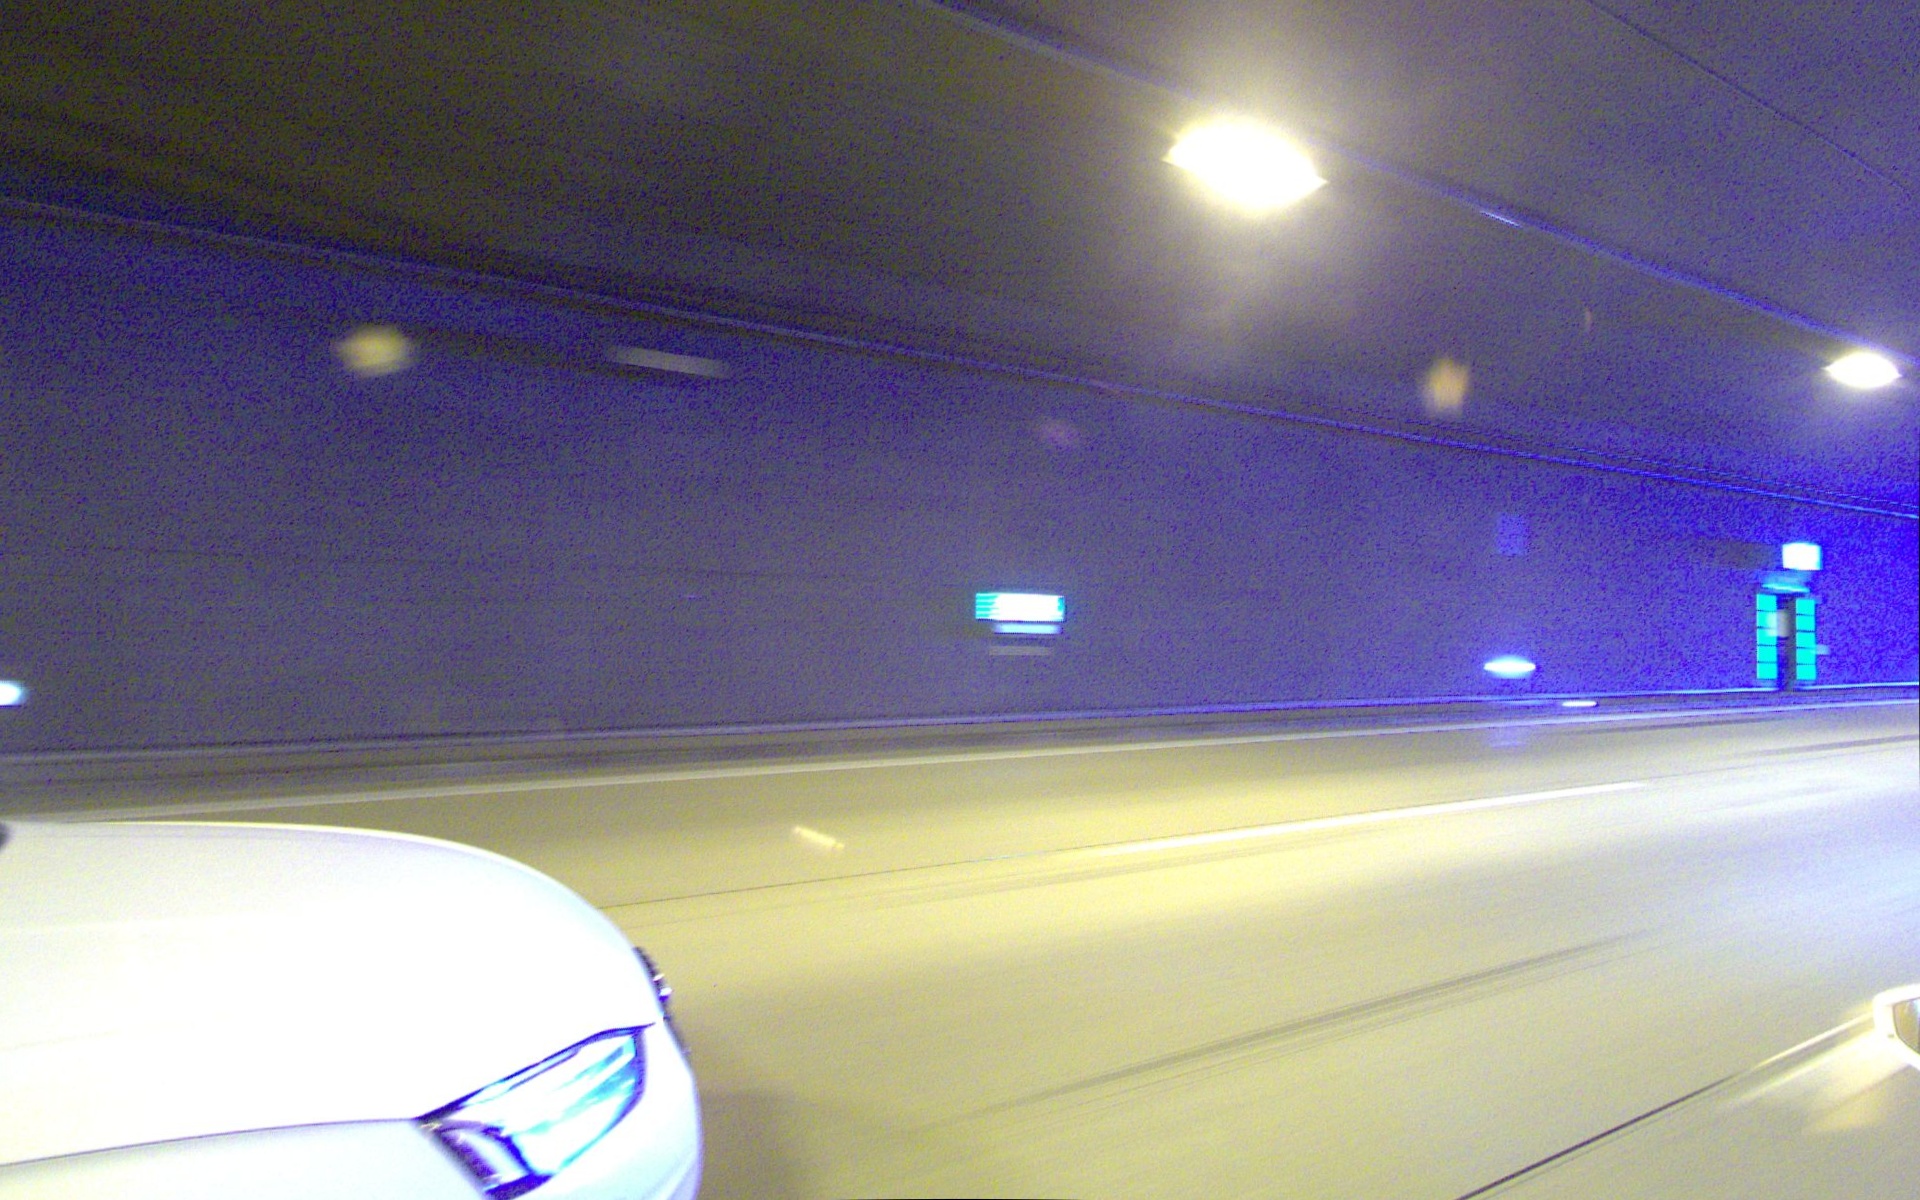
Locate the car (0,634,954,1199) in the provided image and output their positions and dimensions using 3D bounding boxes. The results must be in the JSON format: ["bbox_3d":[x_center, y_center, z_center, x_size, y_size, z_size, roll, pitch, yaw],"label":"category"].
[{"bbox_3d":[-2.602,0.755,1.105,5.000,1.437,1.694,2,-2,-30],"label":"car"}]
